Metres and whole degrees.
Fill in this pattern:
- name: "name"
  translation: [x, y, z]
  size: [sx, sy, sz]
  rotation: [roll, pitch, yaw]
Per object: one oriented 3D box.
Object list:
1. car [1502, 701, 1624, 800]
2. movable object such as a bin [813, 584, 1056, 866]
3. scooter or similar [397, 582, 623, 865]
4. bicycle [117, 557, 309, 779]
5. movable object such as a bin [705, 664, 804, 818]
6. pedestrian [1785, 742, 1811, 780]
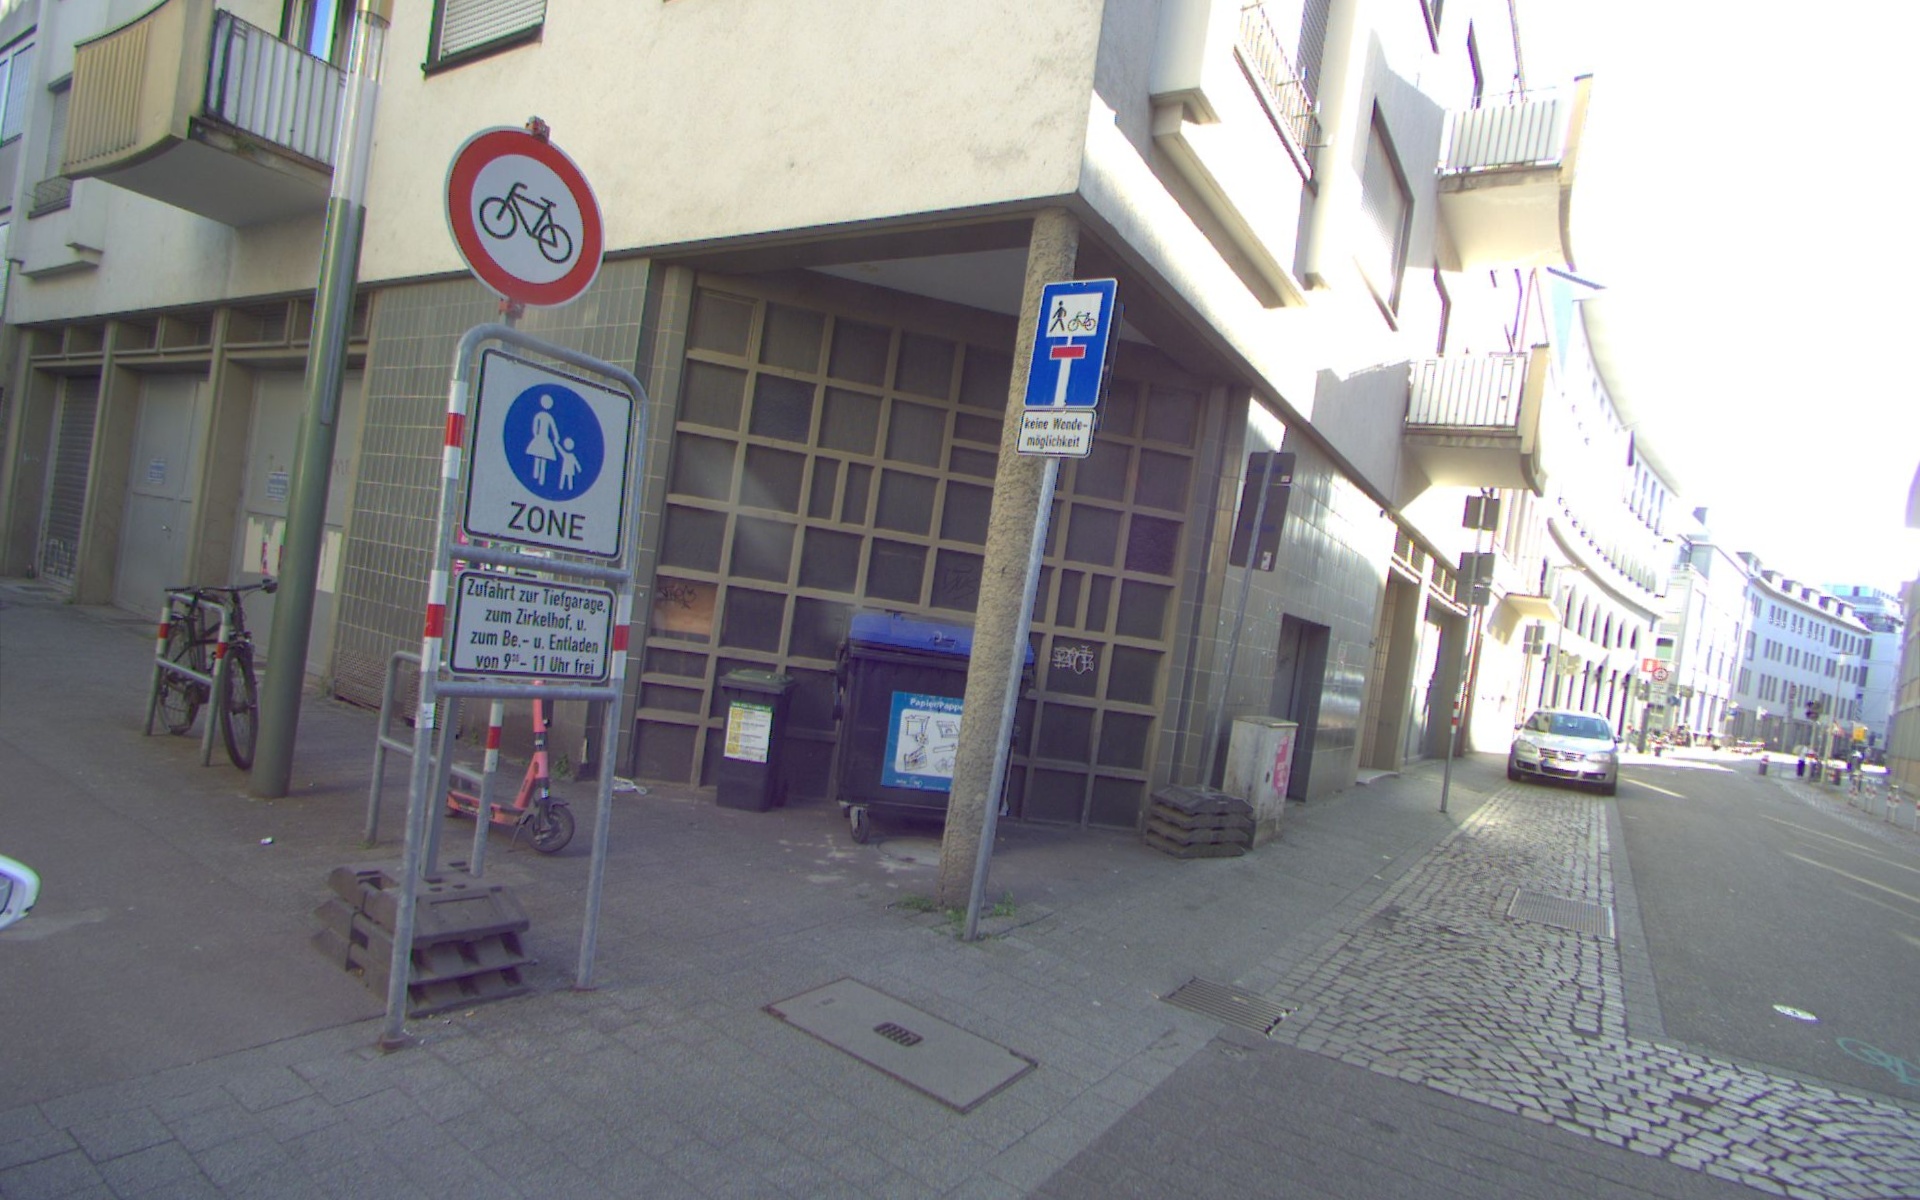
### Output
- name: "car"
  translation: [11.790, 2.828, 19.566]
  size: [1.743, 1.487, 3.804]
  rotation: [6, -2, 34]
- name: "movable object such as a bin"
  translation: [-0.229, 0.796, 6.849]
  size: [1.271, 1.609, 1.152]
  rotation: [8, 1, -12]
- name: "scooter or similar"
  translation: [-2.414, 0.611, 5.352]
  size: [1.218, 1.268, 0.307]
  rotation: [7, 0, 30]
- name: "bicycle"
  translation: [-4.703, 0.379, 6.289]
  size: [1.685, 1.153, 0.446]
  rotation: [6, -1, 39]
- name: "movable object such as a bin"
  translation: [-1.419, 0.956, 6.915]
  size: [0.533, 0.935, 0.512]
  rotation: [7, 0, -14]
- name: "pedestrian"
  translation: [35.815, 6.875, 43.015]
  size: [0.649, 1.458, 0.594]
  rotation: [8, 0, 36]
